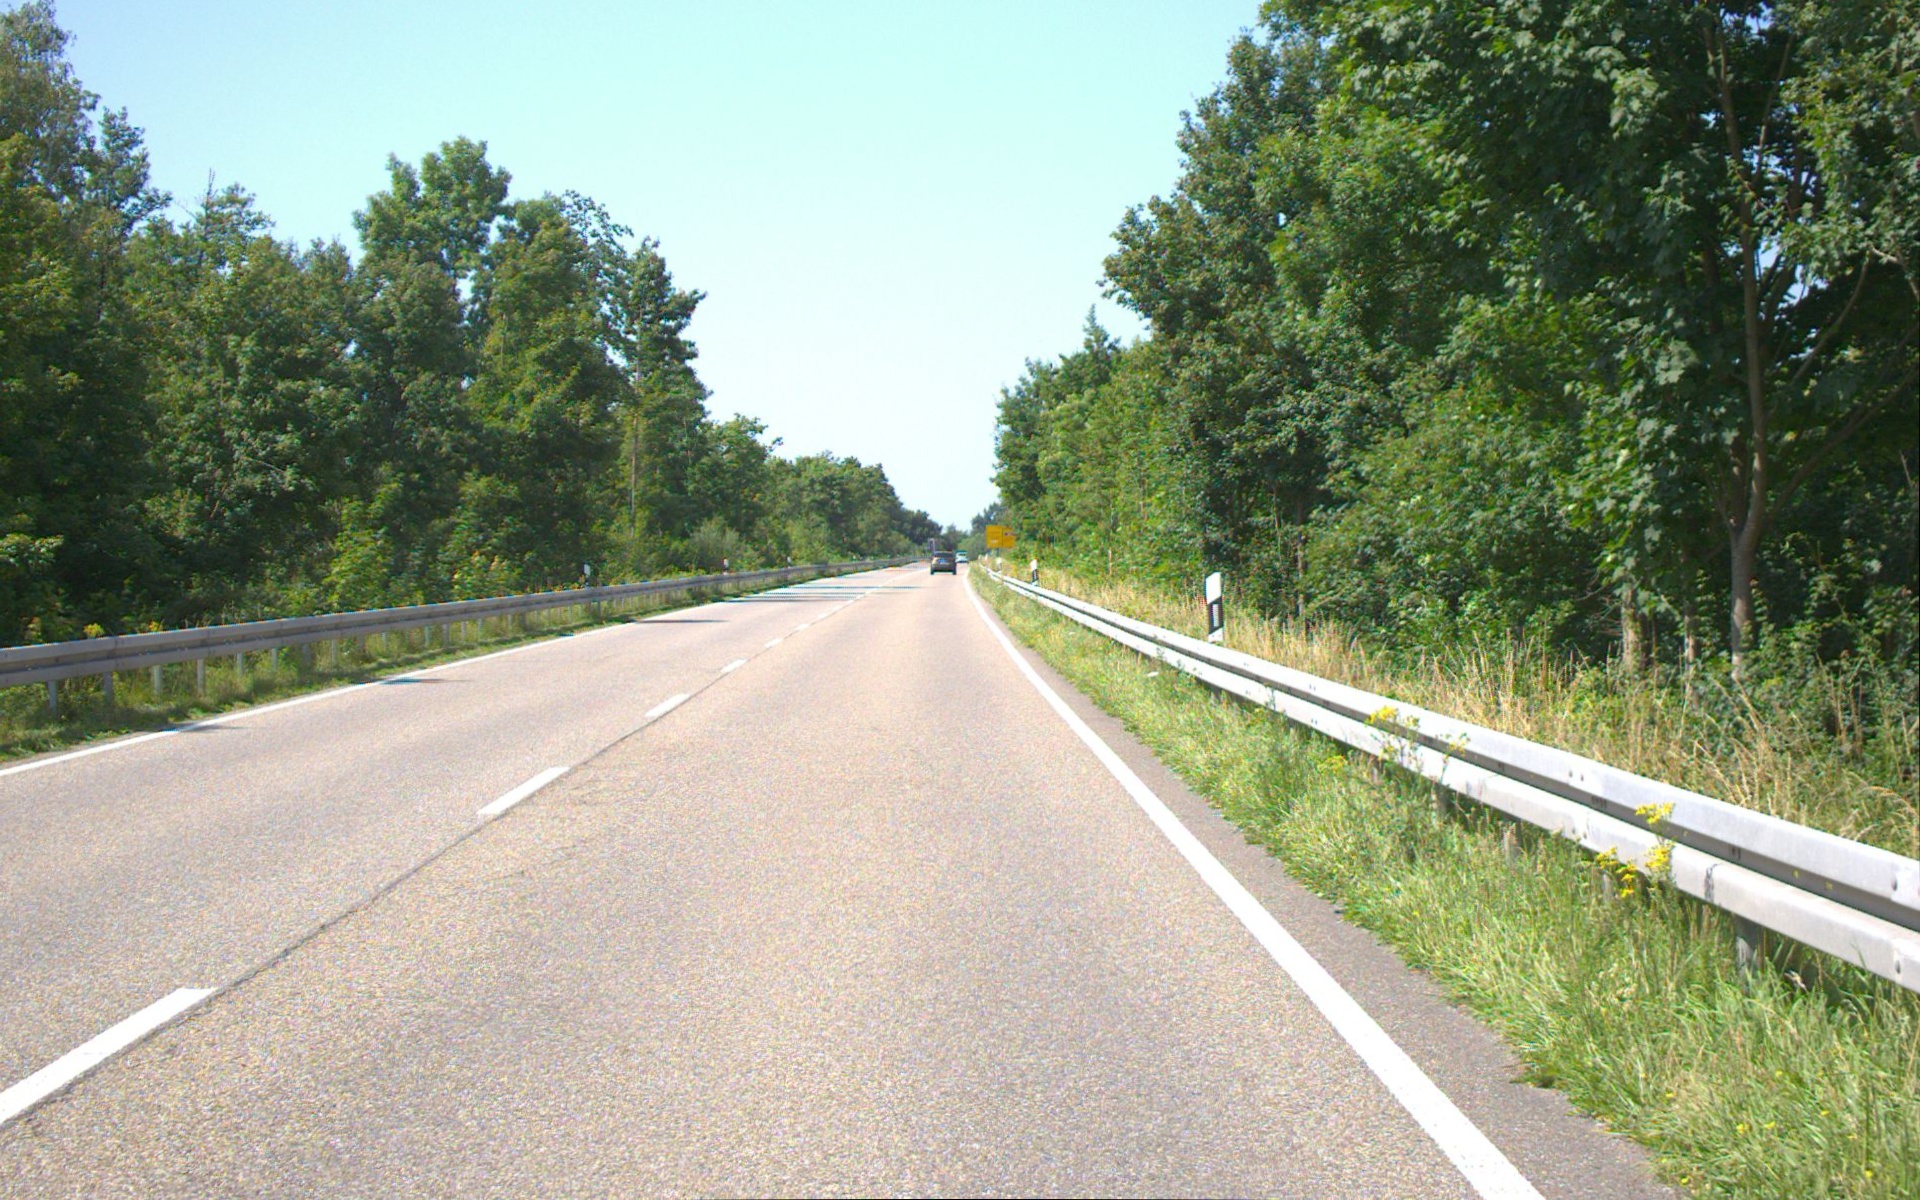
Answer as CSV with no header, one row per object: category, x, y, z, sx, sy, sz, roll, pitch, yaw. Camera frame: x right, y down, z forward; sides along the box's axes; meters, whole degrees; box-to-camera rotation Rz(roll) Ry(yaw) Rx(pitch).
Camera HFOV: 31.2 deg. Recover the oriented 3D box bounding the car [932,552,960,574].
car,-0.940,-2.538,234.096,1.741,1.465,3.692,0,1,2
